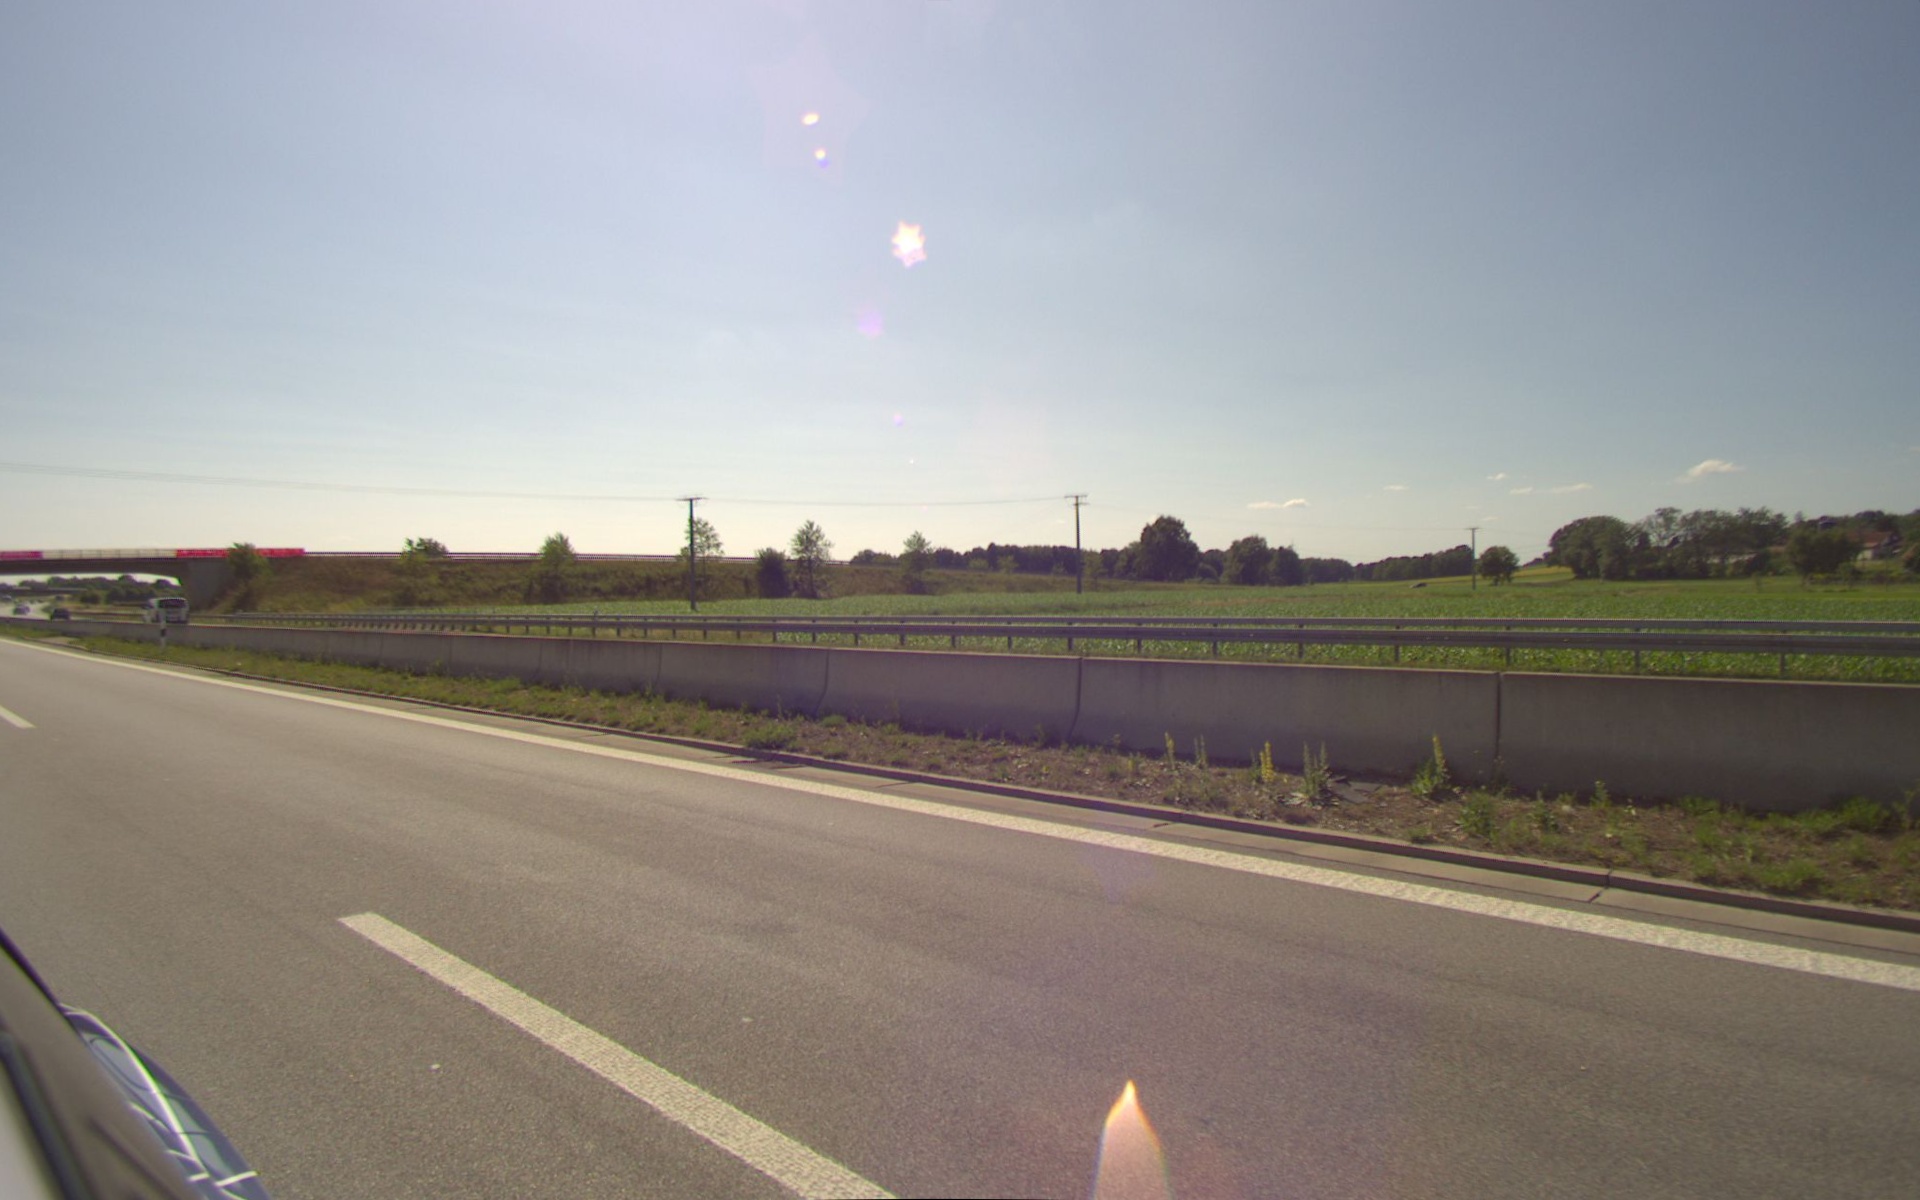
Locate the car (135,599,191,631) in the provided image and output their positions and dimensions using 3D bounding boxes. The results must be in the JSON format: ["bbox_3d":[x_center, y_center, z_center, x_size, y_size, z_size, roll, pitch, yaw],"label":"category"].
[{"bbox_3d":[-52.766,0.936,66.989,5.612,2.029,1.972,0,0,42],"label":"car"}]

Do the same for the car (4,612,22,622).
[{"bbox_3d":[-167.469,2.997,178.995,4.897,1.590,1.972,0,2,44],"label":"car"}]

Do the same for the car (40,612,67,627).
[{"bbox_3d":[-102.854,2.182,114.816,4.586,1.525,1.839,-1,2,43],"label":"car"}]
